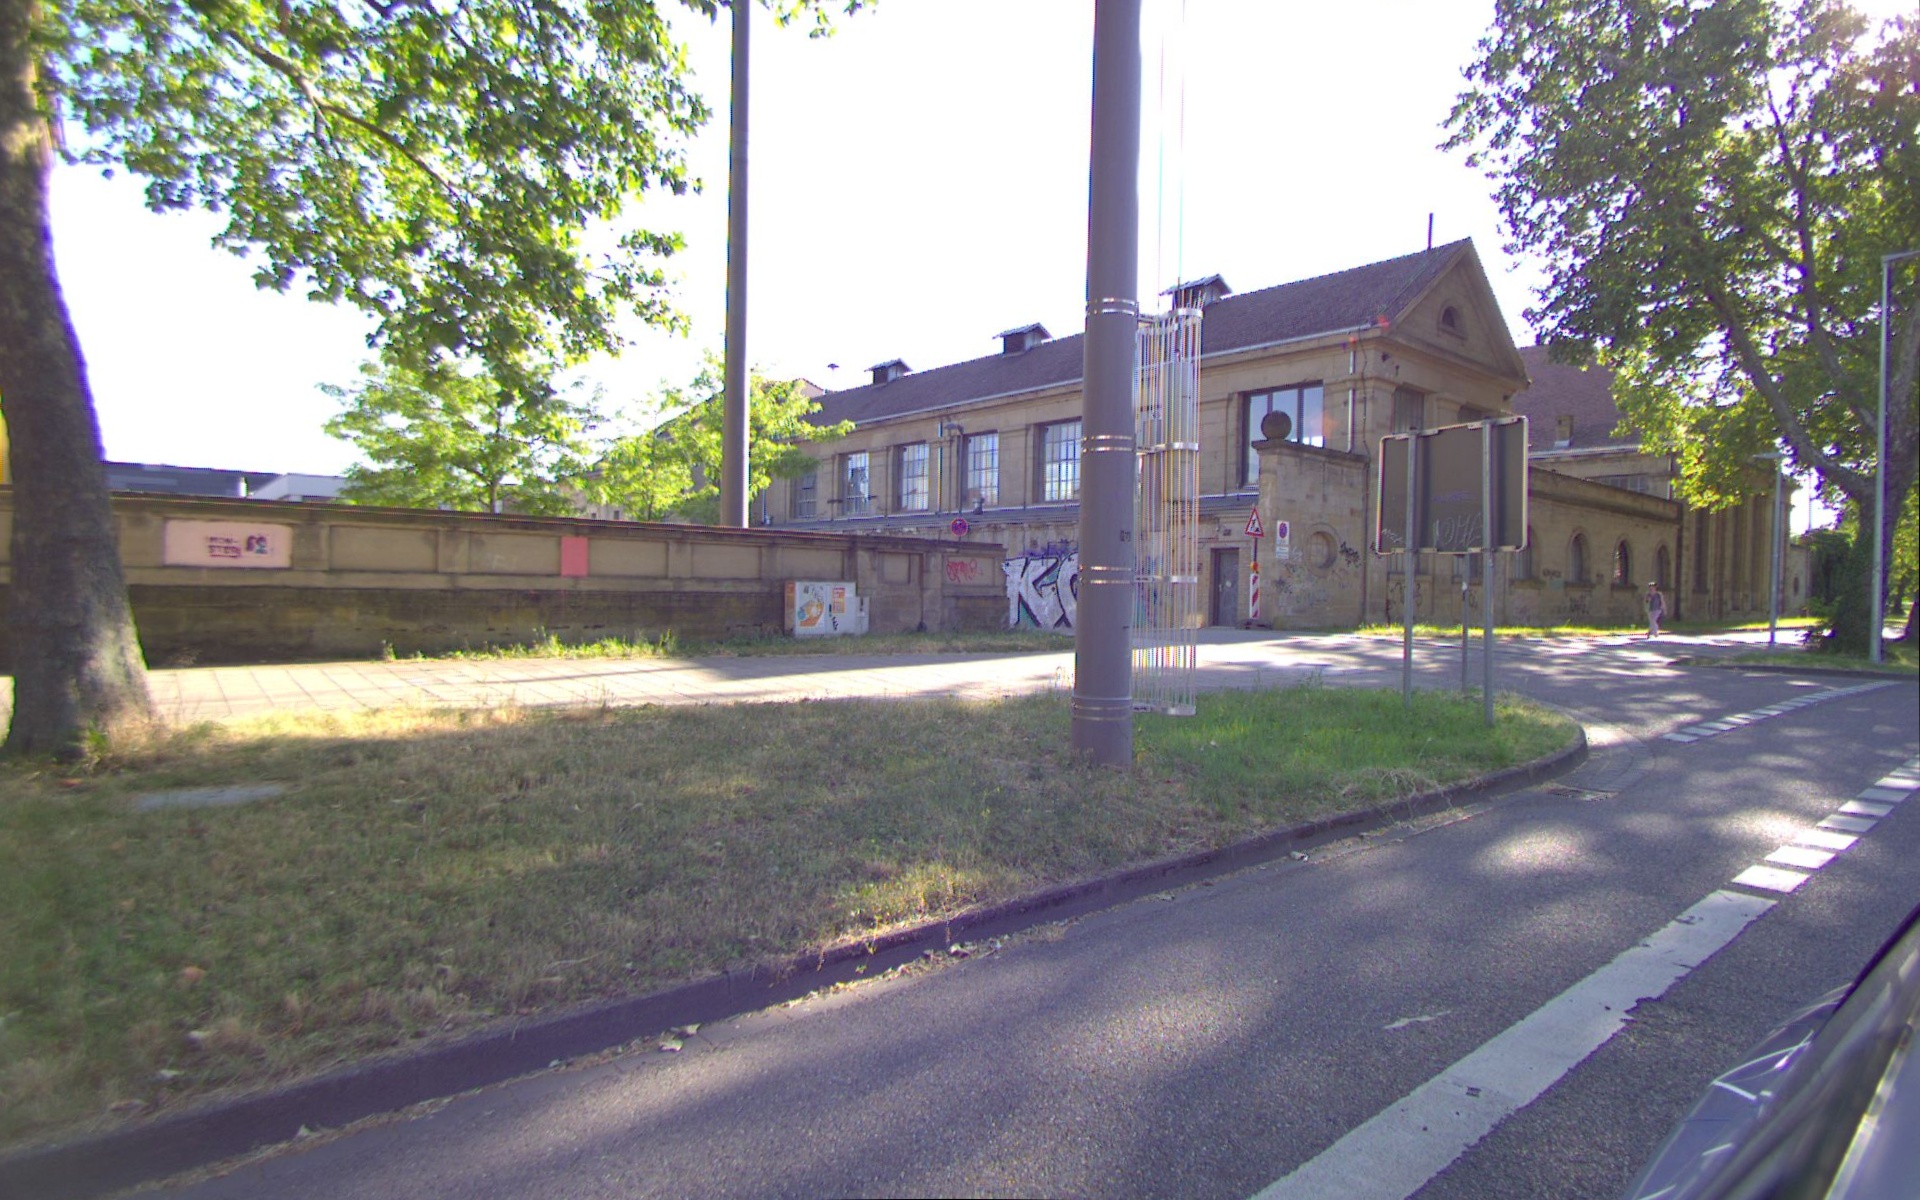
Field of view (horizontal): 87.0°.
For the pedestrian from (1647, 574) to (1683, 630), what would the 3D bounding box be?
[{"bbox_3d":[21.781,0.049,31.273,0.859,1.682,0.672,0,2,-41],"label":"pedestrian"}]
